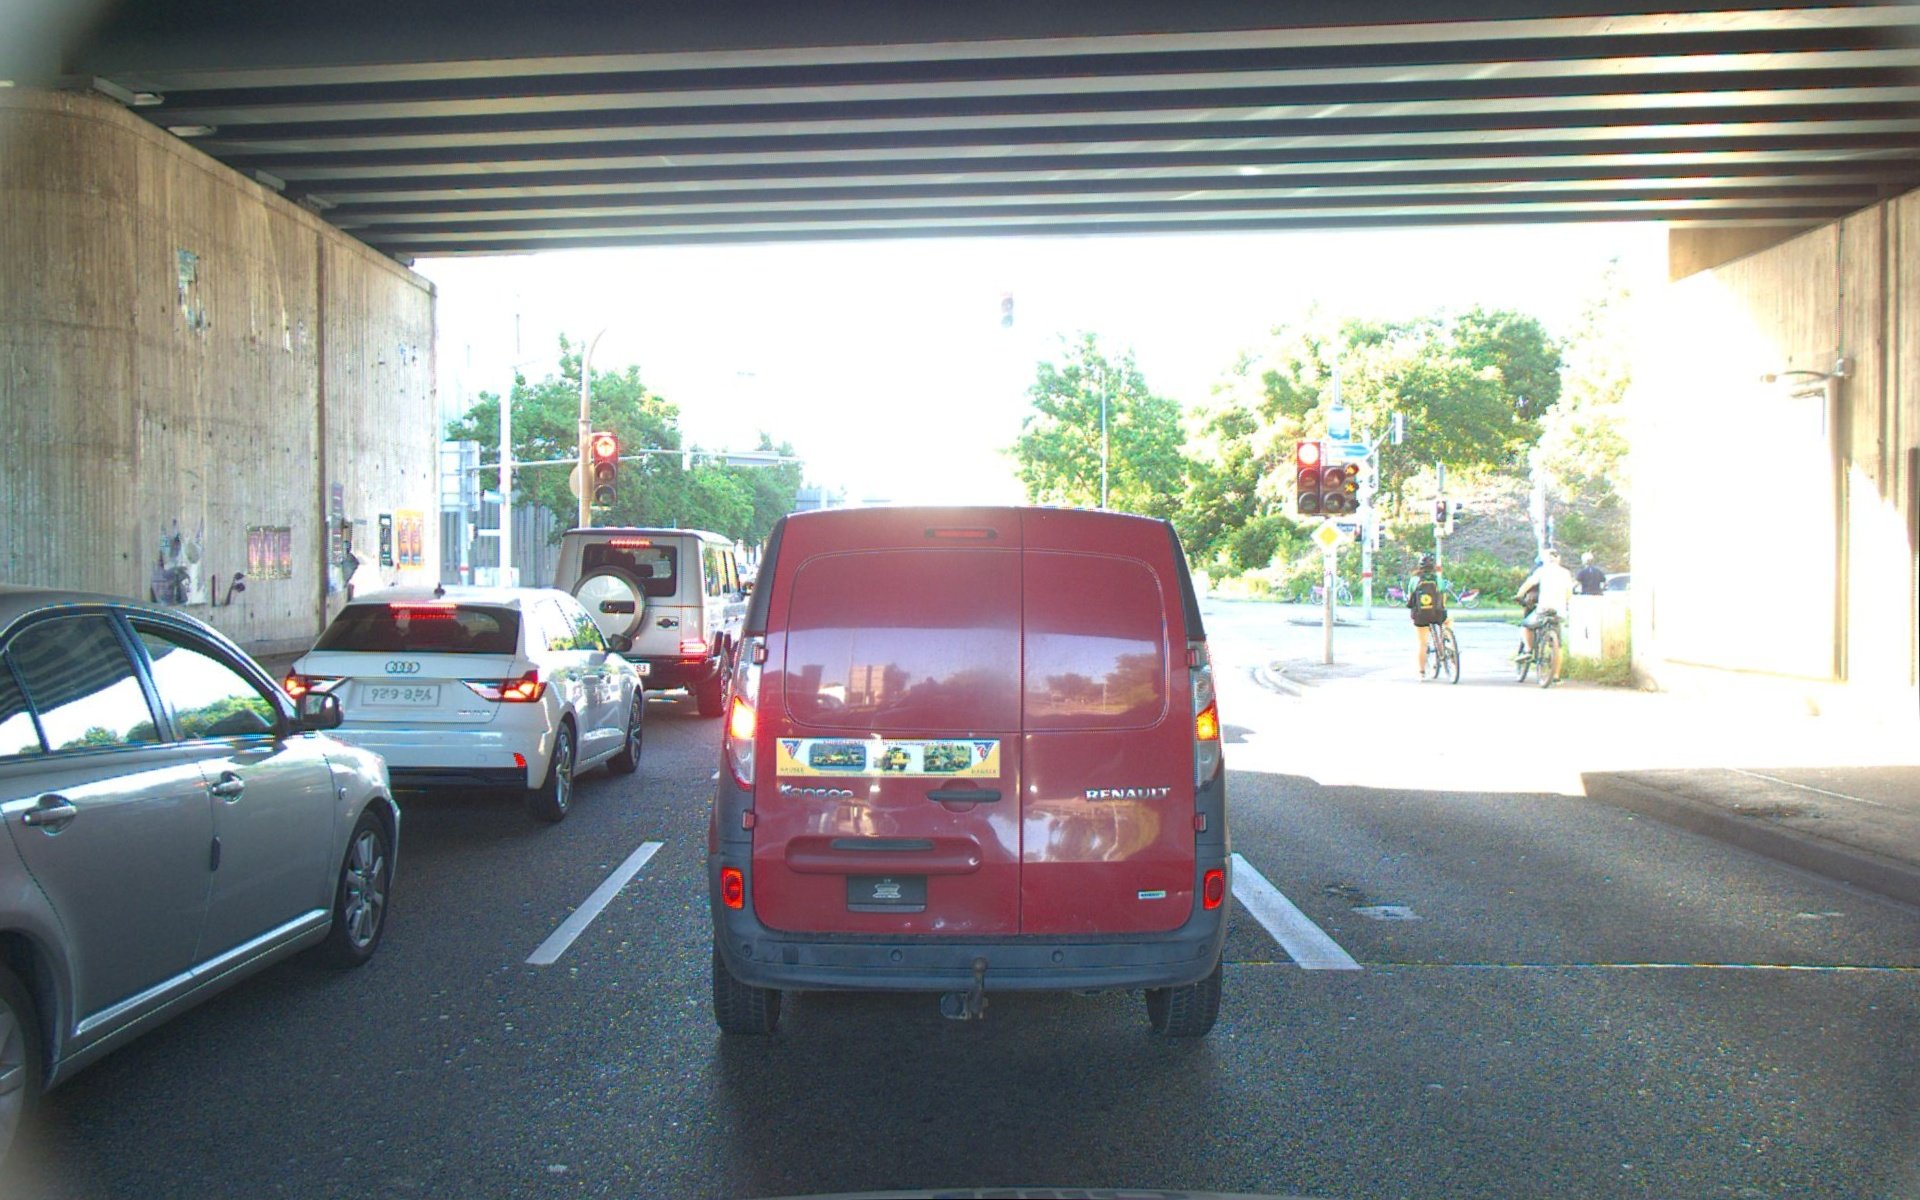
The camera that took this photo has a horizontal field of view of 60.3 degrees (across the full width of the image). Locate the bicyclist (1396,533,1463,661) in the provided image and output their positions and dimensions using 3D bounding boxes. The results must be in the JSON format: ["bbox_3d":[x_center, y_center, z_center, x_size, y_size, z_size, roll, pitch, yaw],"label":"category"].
[{"bbox_3d":[6.202,-0.038,21.885,0.580,1.642,0.942,1,0,-1],"label":"bicyclist"}]

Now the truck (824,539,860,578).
[{"bbox_3d":[-9.786,-3.395,137.637,2.360,3.079,6.657,-2,1,0],"label":"truck"}]

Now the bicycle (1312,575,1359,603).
[{"bbox_3d":[14.205,-0.423,62.599,1.707,1.041,0.594,1,0,8],"label":"bicycle"}]

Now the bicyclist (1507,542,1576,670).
[{"bbox_3d":[7.306,0.073,20.796,0.580,1.575,0.769,1,-1,-1],"label":"bicyclist"}]

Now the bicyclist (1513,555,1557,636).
[{"bbox_3d":[10.841,-0.089,31.200,0.650,1.500,0.752,1,-1,10],"label":"bicyclist"}]

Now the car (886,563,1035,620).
[{"bbox_3d":[0.006,-0.229,43.982,3.684,1.473,1.688,0,0,-15],"label":"car"}]

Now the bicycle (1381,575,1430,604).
[{"bbox_3d":[16.472,-0.390,61.171,1.707,1.041,0.594,1,0,8],"label":"bicycle"}]

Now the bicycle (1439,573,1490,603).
[{"bbox_3d":[18.355,-0.443,60.217,1.707,1.041,0.594,1,0,10],"label":"bicycle"}]

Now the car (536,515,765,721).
[{"bbox_3d":[-3.356,0.187,18.788,1.764,2.023,4.588,1,0,-1],"label":"car"}]

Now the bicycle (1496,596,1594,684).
[{"bbox_3d":[7.327,0.486,20.785,0.579,1.041,1.750,1,0,-1],"label":"bicycle"}]

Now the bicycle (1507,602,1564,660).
[{"bbox_3d":[10.827,0.573,31.160,0.657,1.041,2.057,1,0,9],"label":"bicycle"}]

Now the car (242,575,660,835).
[{"bbox_3d":[-3.253,0.575,11.347,1.777,1.463,3.730,1,1,-1],"label":"car"}]

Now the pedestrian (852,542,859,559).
[{"bbox_3d":[-13.142,-6.204,208.107,0.724,2.049,0.638,1,-1,3],"label":"pedestrian"}]

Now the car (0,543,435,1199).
[{"bbox_3d":[-3.008,0.622,4.849,1.698,1.506,4.317,0,0,-2],"label":"car"}]

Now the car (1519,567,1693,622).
[{"bbox_3d":[19.020,-0.158,48.831,4.451,1.540,1.829,1,0,6],"label":"car"}]

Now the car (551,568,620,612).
[{"bbox_3d":[-16.116,-0.448,71.382,1.787,1.768,4.630,-2,1,1],"label":"car"}]

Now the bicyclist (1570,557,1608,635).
[{"bbox_3d":[12.345,-0.078,32.463,0.635,1.506,0.619,1,1,16],"label":"bicyclist"}]

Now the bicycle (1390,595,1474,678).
[{"bbox_3d":[6.209,0.471,21.848,0.579,1.041,1.750,1,0,-1],"label":"bicycle"}]

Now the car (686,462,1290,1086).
[{"bbox_3d":[0.059,0.527,6.915,1.768,1.826,3.999,1,0,-1],"label":"car"}]
